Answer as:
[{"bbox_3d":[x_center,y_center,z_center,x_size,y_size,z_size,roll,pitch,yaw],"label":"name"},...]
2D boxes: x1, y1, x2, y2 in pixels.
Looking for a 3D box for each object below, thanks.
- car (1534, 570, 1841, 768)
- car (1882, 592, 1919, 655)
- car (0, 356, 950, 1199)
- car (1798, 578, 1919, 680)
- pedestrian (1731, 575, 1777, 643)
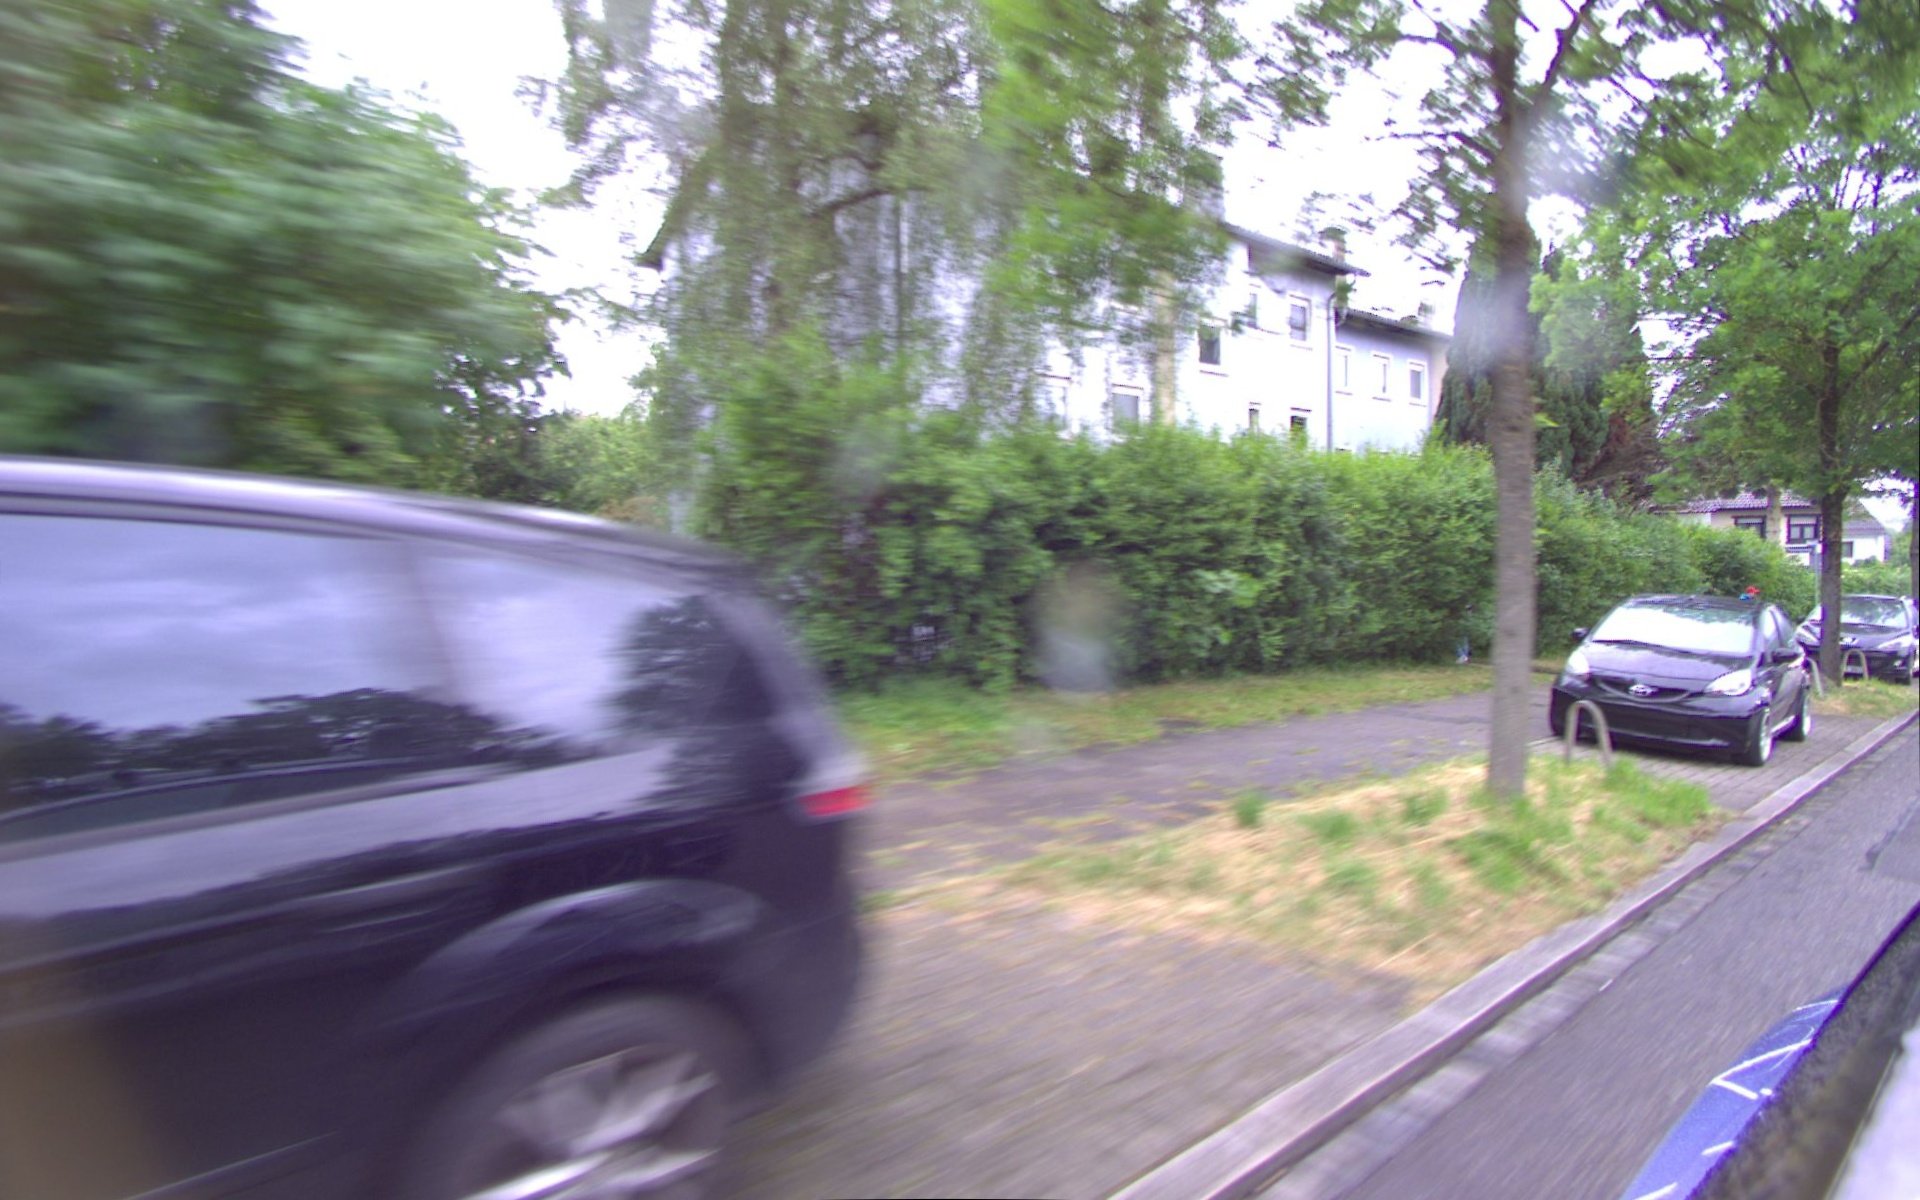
[{"bbox_3d":[7.397,0.548,10.165,3.722,1.530,1.725,0,4,-43],"label":"car"},{"bbox_3d":[25.964,0.618,26.800,4.512,1.540,1.802,0,3,-42],"label":"car"},{"bbox_3d":[-2.343,0.474,1.652,4.504,1.698,1.828,0,3,-41],"label":"car"},{"bbox_3d":[16.899,0.469,18.660,3.946,1.614,1.644,0,3,-43],"label":"car"},{"bbox_3d":[20.303,0.214,25.890,0.641,1.700,0.710,0,2,-34],"label":"pedestrian"}]
